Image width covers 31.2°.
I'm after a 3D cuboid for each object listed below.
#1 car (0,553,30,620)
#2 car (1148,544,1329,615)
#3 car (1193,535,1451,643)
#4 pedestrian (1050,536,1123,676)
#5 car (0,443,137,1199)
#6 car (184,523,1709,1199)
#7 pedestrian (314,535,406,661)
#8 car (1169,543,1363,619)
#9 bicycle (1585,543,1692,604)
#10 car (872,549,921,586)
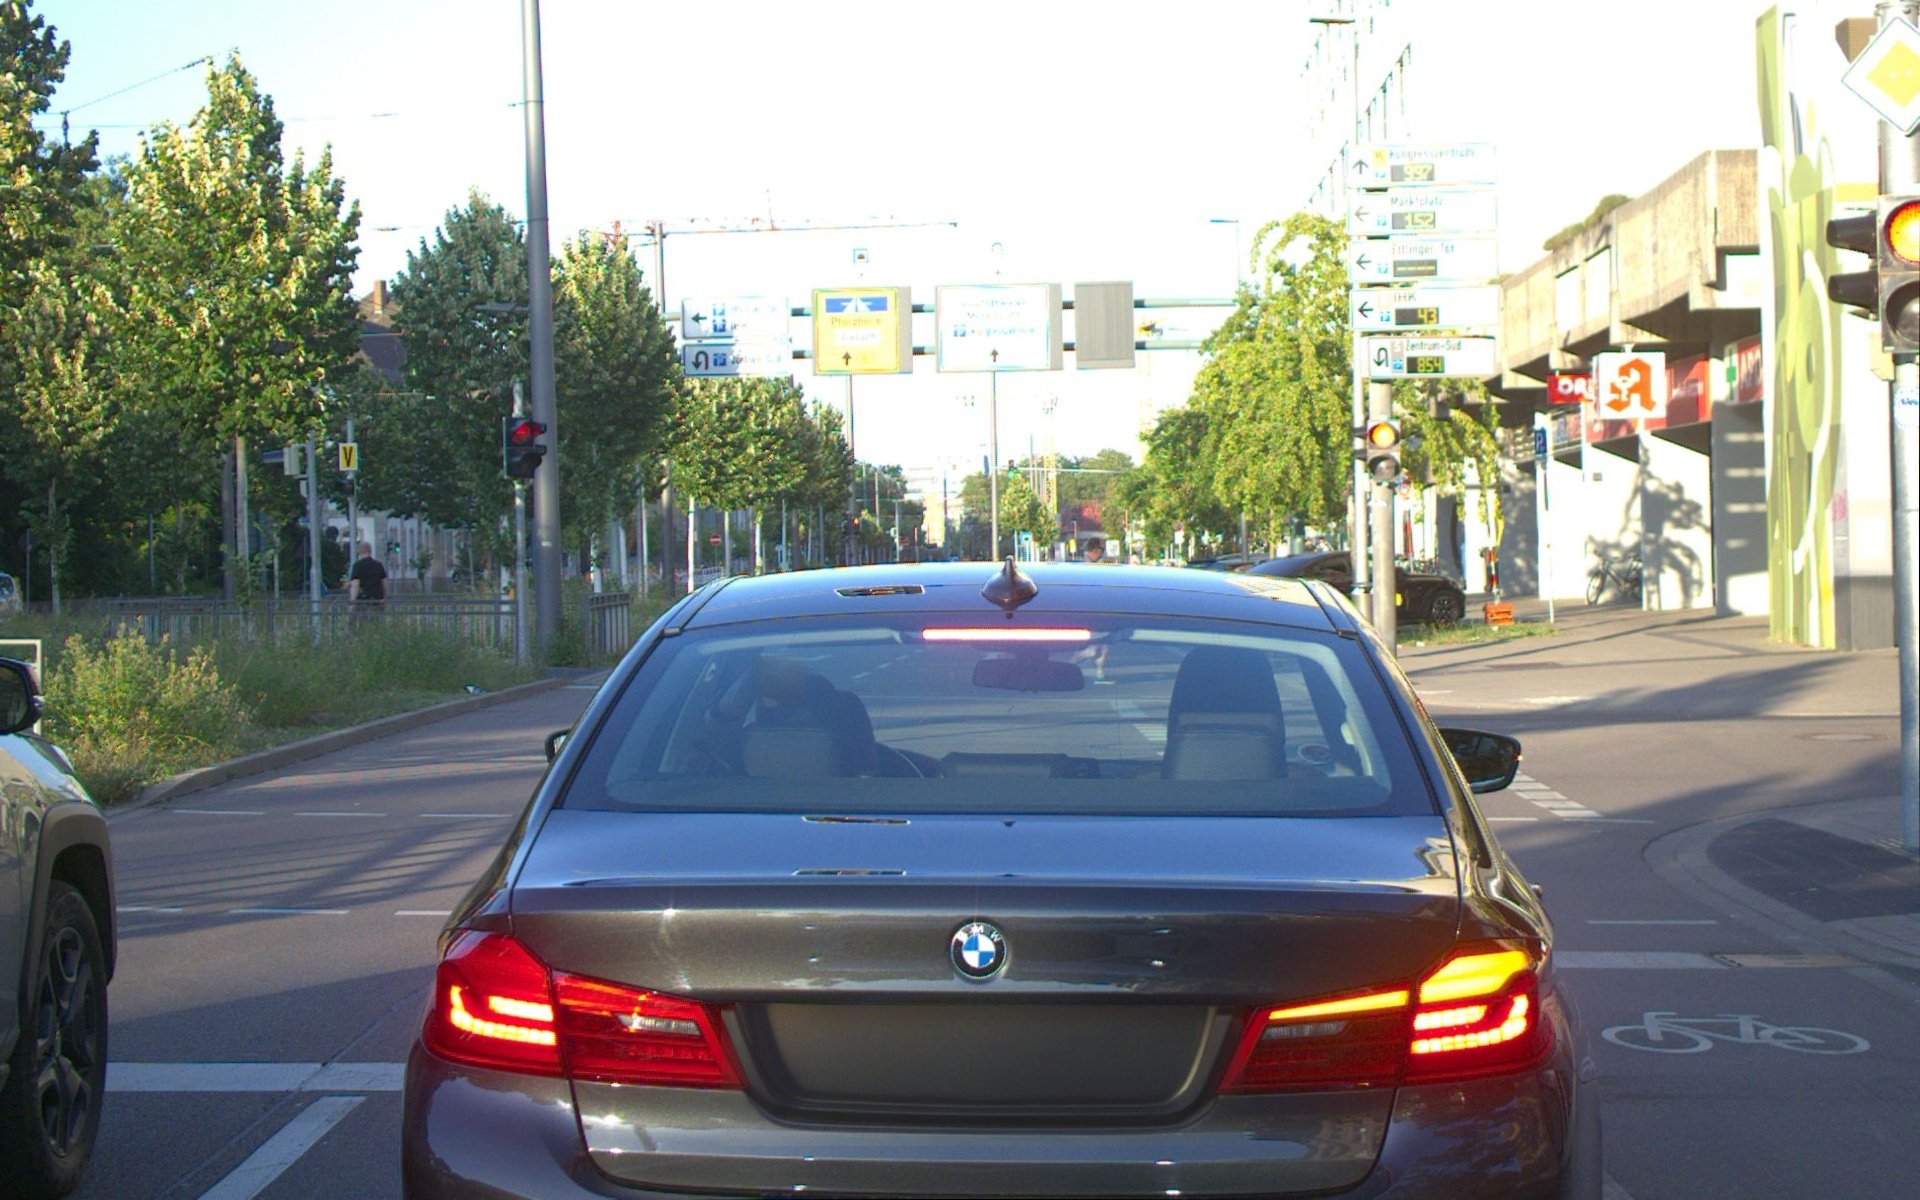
[{"bbox_3d":[-22.162,-0.290,76.576,1.800,1.476,3.783,-1,1,1],"label":"car"},{"bbox_3d":[6.906,-0.520,85.159,4.255,1.653,1.860,-1,2,-35],"label":"car"},{"bbox_3d":[5.983,-0.208,56.565,4.256,1.653,1.860,-2,3,-42],"label":"car"},{"bbox_3d":[1.577,0.071,42.861,0.835,1.706,0.648,-1,1,-1],"label":"pedestrian"},{"bbox_3d":[-2.893,0.530,6.215,1.854,1.653,4.269,0,2,-1],"label":"car"},{"bbox_3d":[0.034,0.620,6.637,1.932,1.476,4.522,0,2,2],"label":"car"},{"bbox_3d":[-7.724,-0.030,44.258,0.810,1.581,0.837,-2,1,-41],"label":"pedestrian"},{"bbox_3d":[7.051,-0.464,79.092,4.255,1.653,1.860,-1,2,-35],"label":"car"},{"bbox_3d":[13.607,-0.529,68.973,2.017,1.145,0.690,2,0,7],"label":"bicycle"},{"bbox_3d":[-2.698,-1.402,146.951,1.979,1.428,4.843,0,2,0],"label":"car"}]
